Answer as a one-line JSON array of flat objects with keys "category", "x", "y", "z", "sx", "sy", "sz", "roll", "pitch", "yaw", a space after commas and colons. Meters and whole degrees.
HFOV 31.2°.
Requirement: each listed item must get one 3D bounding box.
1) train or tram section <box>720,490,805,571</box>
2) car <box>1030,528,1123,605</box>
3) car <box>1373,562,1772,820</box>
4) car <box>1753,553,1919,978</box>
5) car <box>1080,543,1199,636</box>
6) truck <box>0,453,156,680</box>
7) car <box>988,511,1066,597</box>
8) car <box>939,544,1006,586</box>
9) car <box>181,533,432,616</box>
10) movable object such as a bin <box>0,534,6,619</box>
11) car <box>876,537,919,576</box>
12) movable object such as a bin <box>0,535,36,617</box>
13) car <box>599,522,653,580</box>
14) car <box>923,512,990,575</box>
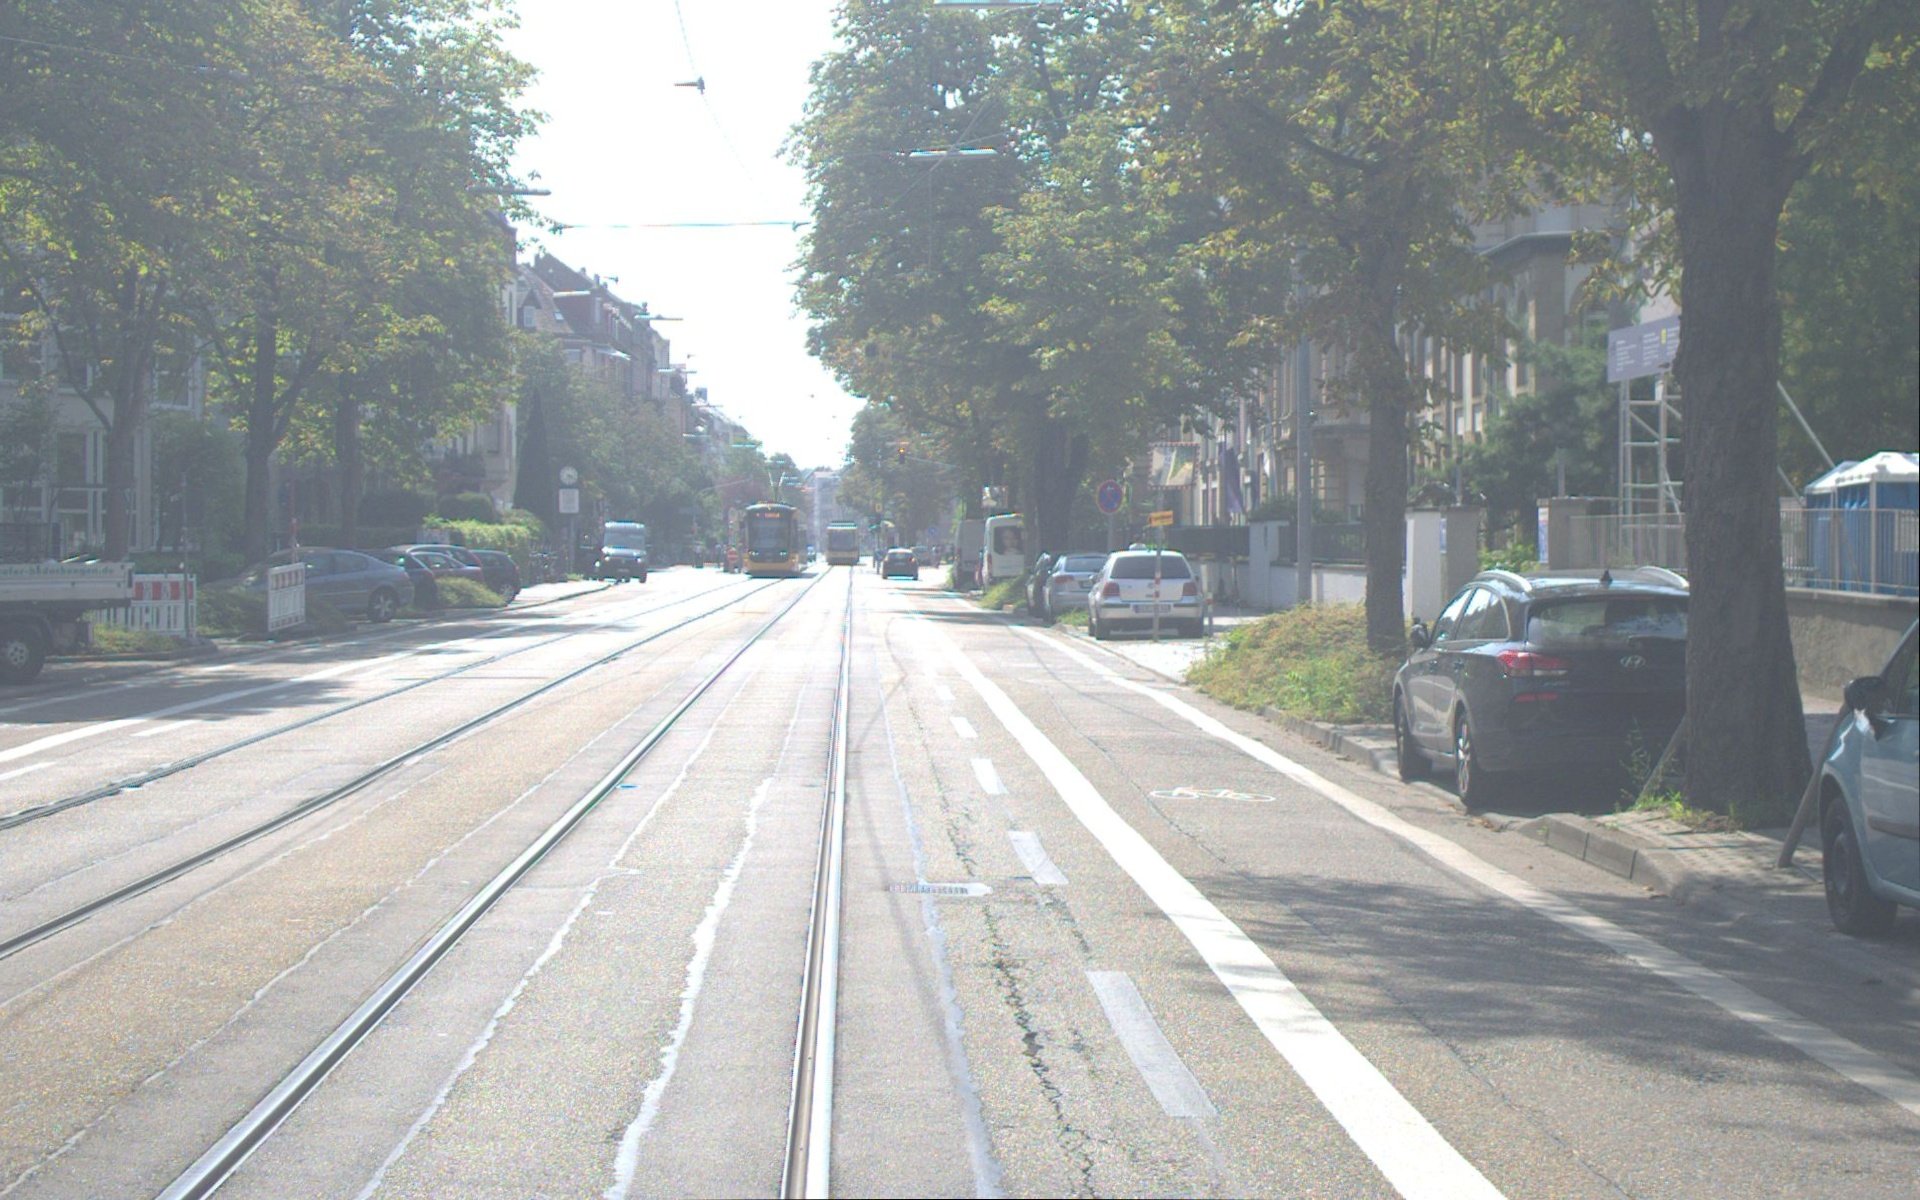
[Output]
[{"category": "train or tram section", "x": -9.389, "y": -3.389, "z": 164.815, "sx": 3.497, "sy": 3.691, "sz": 12.413, "roll": 1, "pitch": 2, "yaw": -1}, {"category": "car", "x": 2.335, "y": -0.692, "z": 69.673, "sx": 1.640, "sy": 1.506, "sz": 3.641, "roll": 1, "pitch": 1, "yaw": -1}, {"category": "car", "x": 3.929, "y": 0.515, "z": 22.795, "sx": 1.674, "sy": 1.453, "sz": 4.664, "roll": -1, "pitch": 1, "yaw": -2}, {"category": "car", "x": 4.418, "y": 0.608, "z": 13.139, "sx": 1.674, "sy": 1.574, "sz": 4.172, "roll": -1, "pitch": 1, "yaw": -2}, {"category": "car", "x": 2.906, "y": -0.193, "z": 56.260, "sx": 1.791, "sy": 1.441, "sz": 3.733, "roll": -1, "pitch": 1, "yaw": 1}, {"category": "truck", "x": -11.827, "y": -0.357, "z": 36.794, "sx": 5.952, "sy": 2.426, "sz": 2.150, "roll": -1, "pitch": 2, "yaw": -40}, {"category": "car", "x": 1.871, "y": -1.302, "z": 97.544, "sx": 1.993, "sy": 2.357, "sz": 4.000, "roll": 1, "pitch": 1, "yaw": -1}, {"category": "car", "x": 0.417, "y": -1.215, "z": 117.668, "sx": 1.993, "sy": 1.393, "sz": 4.001, "roll": 0, "pitch": 1, "yaw": -4}, {"category": "car", "x": -12.535, "y": -0.516, "z": 66.201, "sx": 1.675, "sy": 1.446, "sz": 4.677, "roll": 1, "pitch": 3, "yaw": 42}, {"category": "movable object such as a bin", "x": -18.413, "y": -0.417, "z": 62.691, "sx": 1.682, "sy": 1.554, "sz": 1.354, "roll": 0, "pitch": 1, "yaw": -3}, {"category": "car", "x": -2.983, "y": -2.105, "z": 164.330, "sx": 1.993, "sy": 1.795, "sz": 4.000, "roll": 1, "pitch": 1, "yaw": -1}, {"category": "movable object such as a bin", "x": -18.667, "y": -0.465, "z": 65.718, "sx": 1.682, "sy": 1.554, "sz": 1.354, "roll": 0, "pitch": 1, "yaw": -3}, {"category": "car", "x": -14.264, "y": -2.091, "z": 146.906, "sx": 2.241, "sy": 2.433, "sz": 4.001, "roll": 1, "pitch": 1, "yaw": -5}, {"category": "car", "x": -0.144, "y": -2.065, "z": 124.761, "sx": 1.993, "sy": 2.226, "sz": 4.001, "roll": 0, "pitch": 1, "yaw": -6}]
